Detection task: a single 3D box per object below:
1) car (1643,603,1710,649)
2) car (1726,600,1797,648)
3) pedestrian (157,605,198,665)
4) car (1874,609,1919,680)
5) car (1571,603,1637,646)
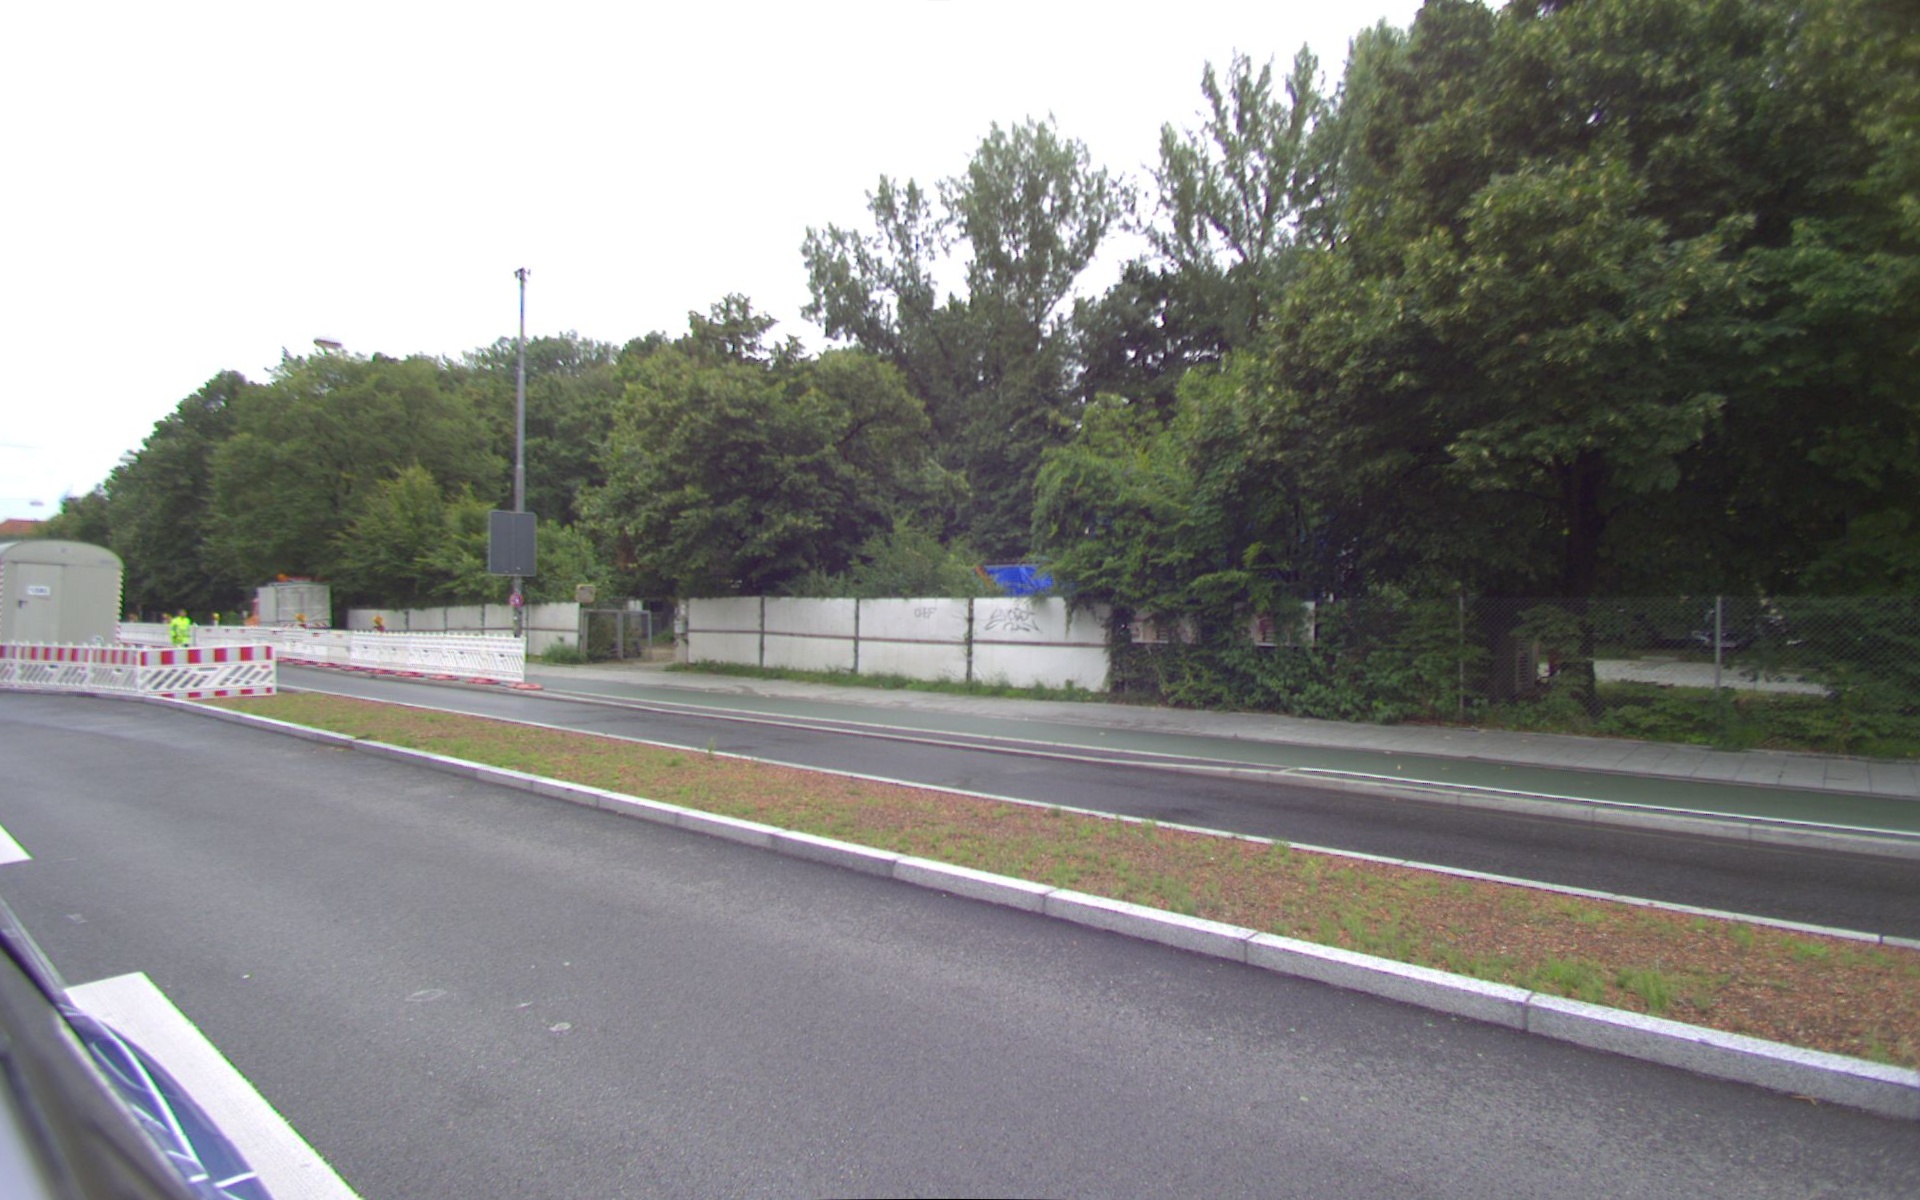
[{"bbox_3d":[28.990,1.042,40.904,1.997,1.732,3.949,-1,-2,38],"label":"car"},{"bbox_3d":[30.534,0.918,38.620,1.997,1.732,3.949,-1,-2,38],"label":"car"},{"bbox_3d":[-26.194,1.162,33.881,0.874,1.956,0.879,-1,-2,38],"label":"pedestrian"},{"bbox_3d":[22.689,0.980,22.058,3.996,1.556,1.753,-1,-2,39],"label":"car"},{"bbox_3d":[26.875,1.013,42.161,1.997,1.732,3.950,-1,-2,37],"label":"car"}]
